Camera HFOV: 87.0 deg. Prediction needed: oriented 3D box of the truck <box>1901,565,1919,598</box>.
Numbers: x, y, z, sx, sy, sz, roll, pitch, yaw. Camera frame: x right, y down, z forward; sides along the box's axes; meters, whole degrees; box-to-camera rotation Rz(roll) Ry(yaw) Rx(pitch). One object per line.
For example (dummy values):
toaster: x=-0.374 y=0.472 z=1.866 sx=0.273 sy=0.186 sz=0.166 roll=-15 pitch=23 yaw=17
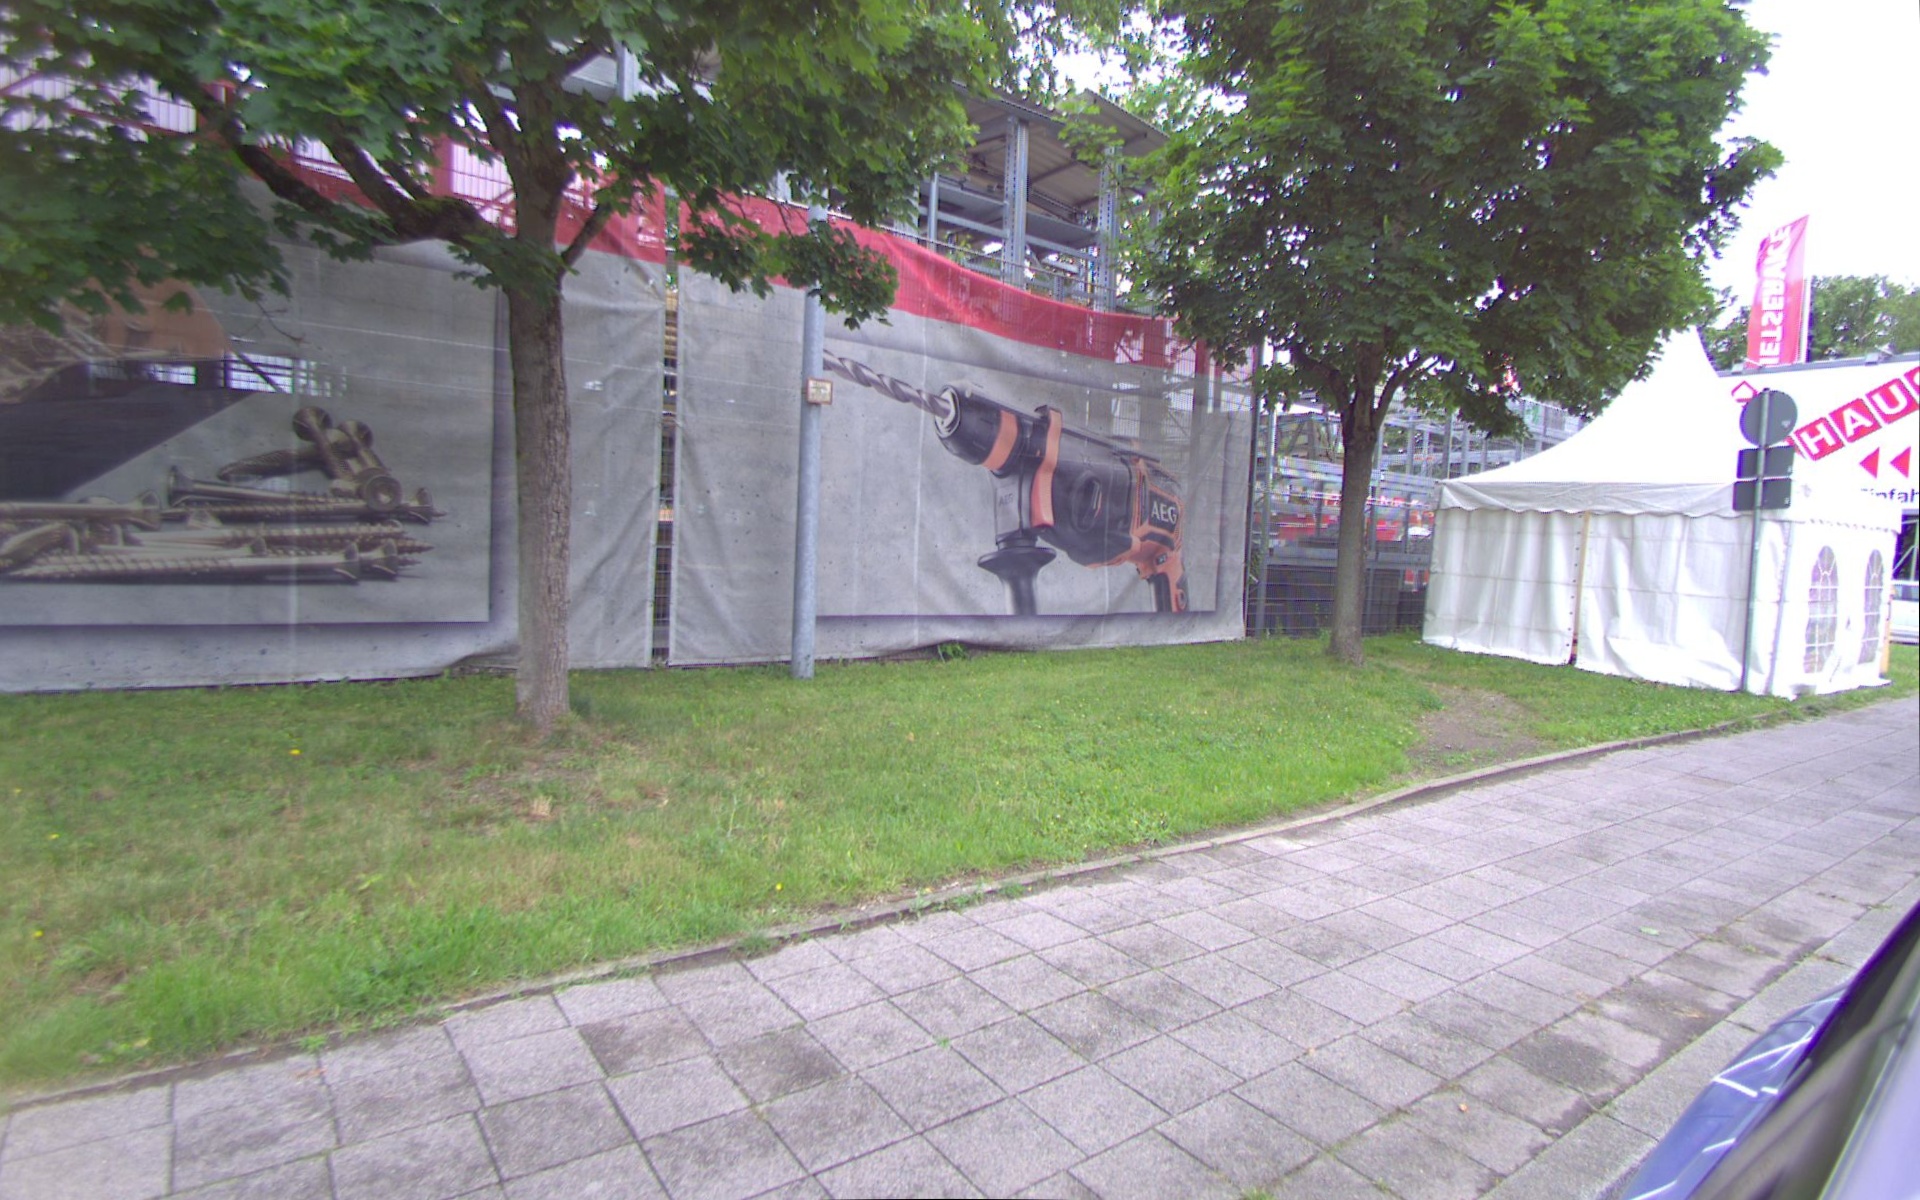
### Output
truck: x=73.548 y=-1.299 z=75.837 sx=3.928 sy=2.425 sz=1.999 roll=3 pitch=3 yaw=4

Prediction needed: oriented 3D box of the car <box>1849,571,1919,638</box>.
car: x=22.846 y=0.175 z=22.330 sx=1.902 sy=1.445 sz=4.498 roll=-1 pitch=4 yaw=-34
